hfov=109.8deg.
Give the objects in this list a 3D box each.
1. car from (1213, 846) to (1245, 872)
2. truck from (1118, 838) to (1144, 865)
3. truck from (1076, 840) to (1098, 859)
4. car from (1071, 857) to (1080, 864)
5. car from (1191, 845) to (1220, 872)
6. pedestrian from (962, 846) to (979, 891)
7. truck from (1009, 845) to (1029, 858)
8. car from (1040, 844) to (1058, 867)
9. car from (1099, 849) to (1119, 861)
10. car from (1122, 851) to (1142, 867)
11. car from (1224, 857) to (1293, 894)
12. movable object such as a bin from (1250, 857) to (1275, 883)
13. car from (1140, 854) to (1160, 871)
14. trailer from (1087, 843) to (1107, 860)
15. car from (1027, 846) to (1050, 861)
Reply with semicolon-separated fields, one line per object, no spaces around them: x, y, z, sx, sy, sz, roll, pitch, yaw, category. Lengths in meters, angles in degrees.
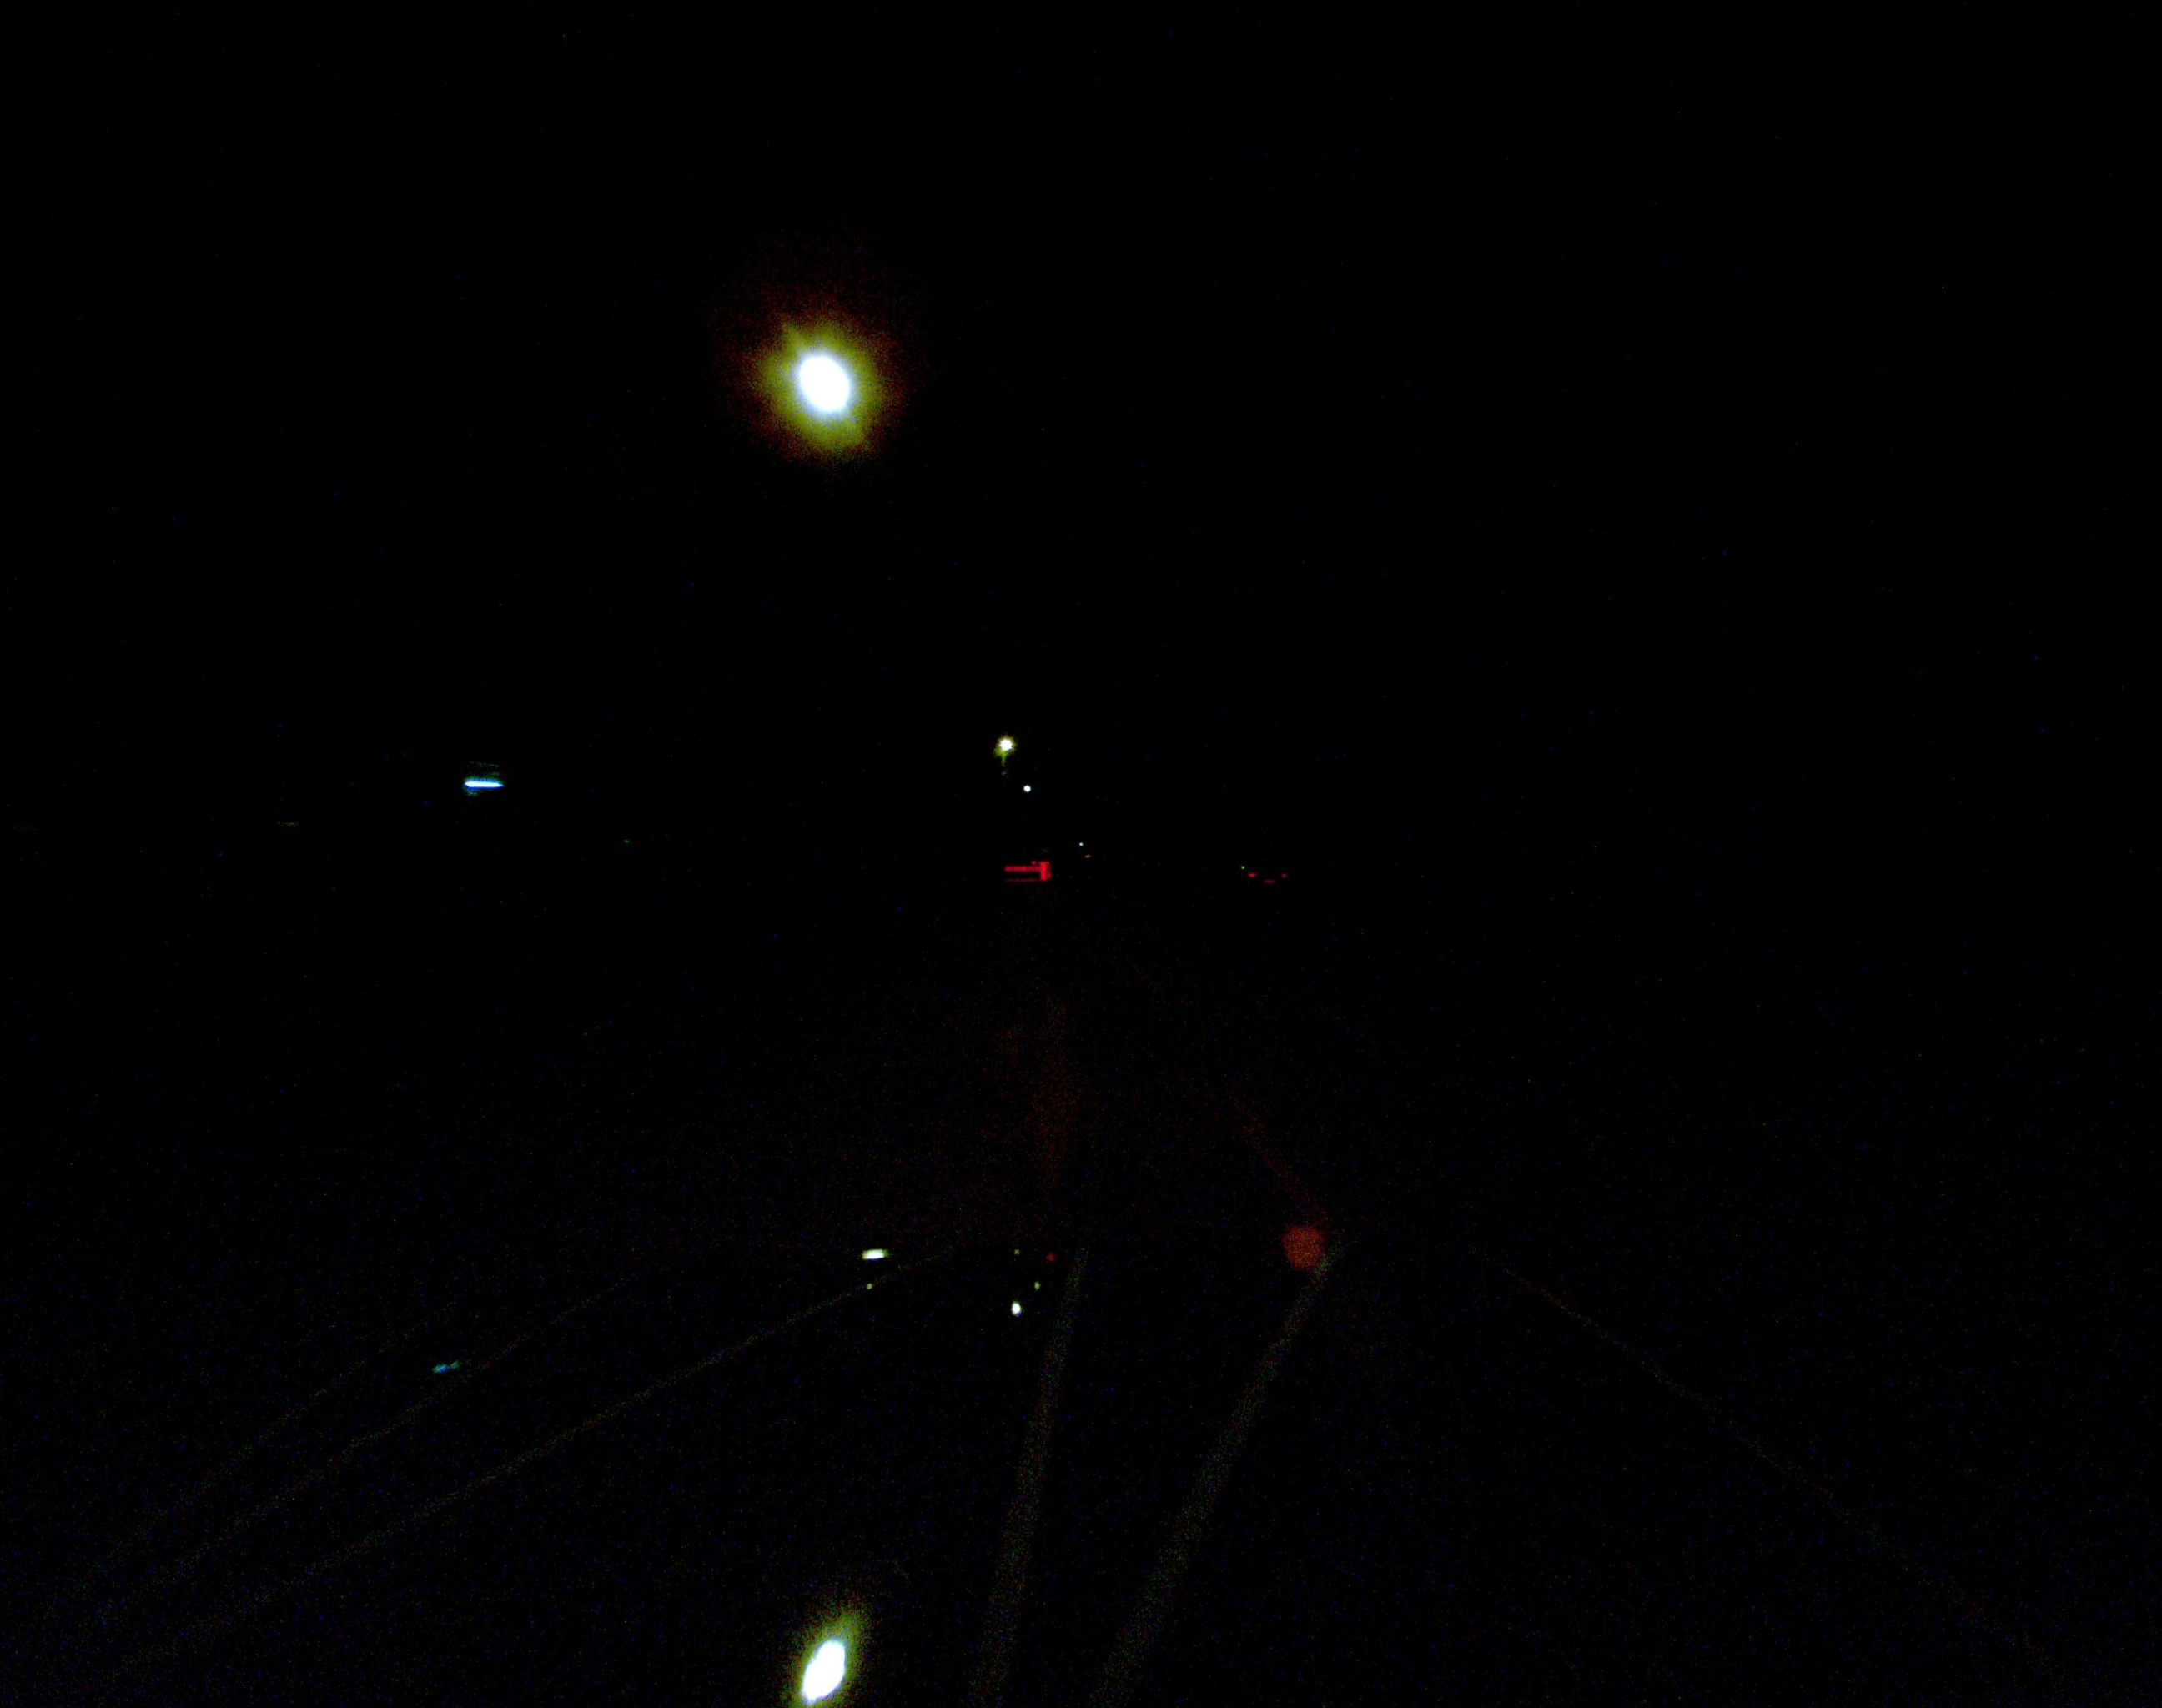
13.807;0.454;71.123;2.212;2.308;4.625;1;0;3;car
6.387;-0.296;97.686;2.550;3.261;7.310;0;0;-2;truck
1.049;-0.766;131.637;2.381;3.224;7.224;0;0;-11;truck
-1.180;1.399;168.293;1.862;1.630;3.998;1;0;-4;car
11.444;0.373;70.241;1.998;2.308;4.967;2;0;3;car
-4.558;0.585;31.431;0.572;1.842;0.820;0;1;0;pedestrian
-14.229;-0.588;173.909;2.003;2.768;7.228;0;0;-25;truck
-3.762;0.174;89.280;2.026;2.512;6.050;-1;0;-2;car
4.170;0.135;113.695;2.000;1.761;4.687;0;0;-11;car
6.045;0.577;90.859;1.834;1.806;4.837;1;0;-2;car
7.487;0.870;32.505;1.916;1.395;4.337;1;0;0;car
10.849;0.952;45.528;1.167;1.487;1.065;0;0;-4;movable object such as a bin
6.509;0.767;72.257;1.759;1.517;4.323;0;0;3;car
2.630;-0.453;124.401;2.212;2.779;4.611;0;0;-12;trailer
-9.078;-0.086;162.708;2.393;3.224;7.216;0;0;-25;car
